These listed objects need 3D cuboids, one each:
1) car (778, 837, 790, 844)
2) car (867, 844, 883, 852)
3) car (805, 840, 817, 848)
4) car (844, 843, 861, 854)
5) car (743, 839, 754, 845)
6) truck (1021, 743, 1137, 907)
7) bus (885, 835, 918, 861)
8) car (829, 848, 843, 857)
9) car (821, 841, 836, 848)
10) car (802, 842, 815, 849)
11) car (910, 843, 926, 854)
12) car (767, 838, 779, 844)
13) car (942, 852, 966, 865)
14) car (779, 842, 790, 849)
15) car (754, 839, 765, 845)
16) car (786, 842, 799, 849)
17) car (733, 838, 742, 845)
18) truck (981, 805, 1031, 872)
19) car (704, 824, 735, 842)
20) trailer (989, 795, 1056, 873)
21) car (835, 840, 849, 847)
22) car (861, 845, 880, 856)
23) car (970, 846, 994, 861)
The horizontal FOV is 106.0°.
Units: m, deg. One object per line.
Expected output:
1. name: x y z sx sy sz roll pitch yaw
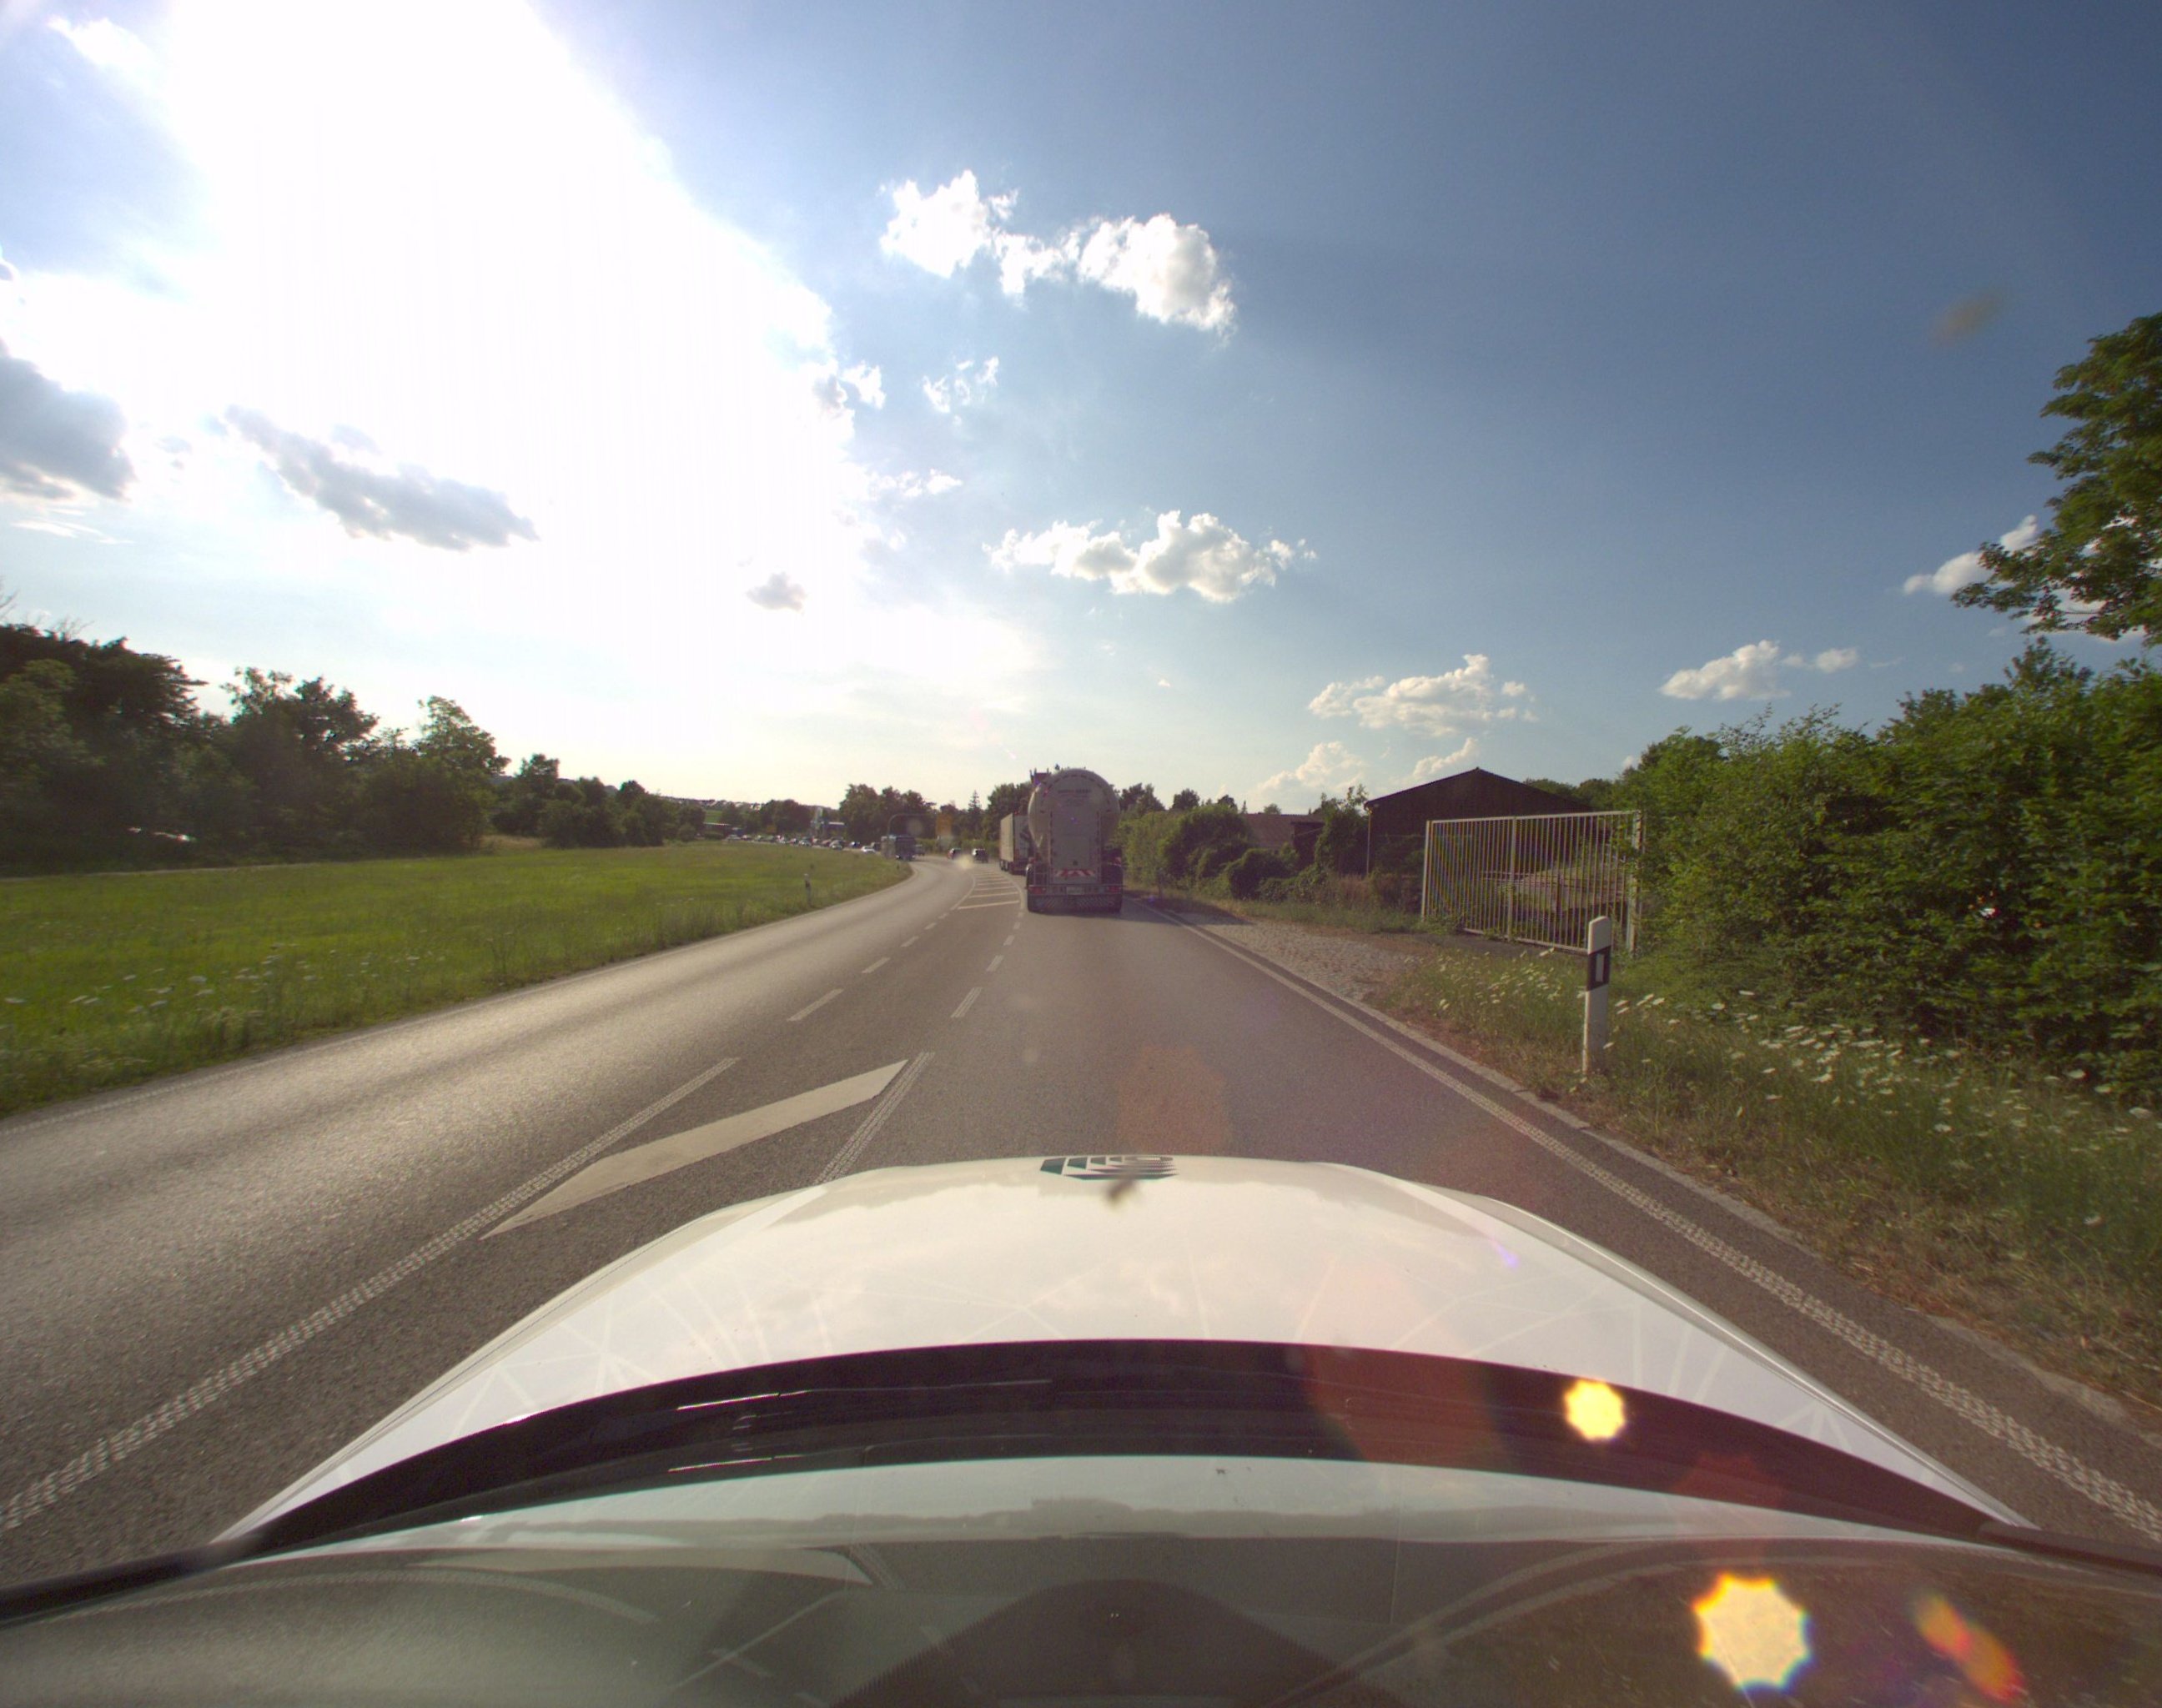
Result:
1. car: -74.497 -3.416 204.290 1.895 1.599 3.958 1 0 -34
2. car: -39.714 -1.200 157.160 2.097 1.599 3.963 1 0 -29
3. car: -57.001 -2.055 171.743 1.851 1.656 3.965 1 -1 -27
4. car: -36.174 -0.823 128.901 1.851 1.656 3.965 1 -1 -27
5. car: -89.525 -3.250 219.386 1.895 1.599 3.959 1 0 -33
6. truck: -0.320 -0.663 26.577 2.969 4.175 11.649 0 -1 -3
7. bus: -23.445 -0.717 105.875 2.803 3.181 12.047 1 -1 -19
8. car: -45.791 -0.264 151.927 1.851 1.656 3.965 1 -1 -27
9. car: -56.139 -2.151 181.275 2.100 1.599 3.958 1 0 -34
10. car: -64.053 -2.066 191.388 2.099 1.599 3.960 1 0 -32
11. car: -25.651 -0.802 127.918 1.848 1.656 3.971 1 -1 -22
12. car: -78.971 -3.352 208.759 1.895 1.599 3.959 1 0 -33
13. car: -16.953 0.578 108.730 2.308 1.656 4.383 1 -1 -22
14. car: -67.895 -1.902 186.454 1.851 1.656 3.965 1 -1 -27
15. car: -84.813 -3.120 214.655 1.895 1.599 3.959 1 0 -33
16. car: -70.186 -2.018 198.308 2.099 1.599 3.960 1 0 -32
17. car: -88.318 -3.172 209.276 1.852 1.656 3.964 1 -1 -28
18. truck: -5.881 -1.081 62.977 2.966 4.886 6.400 0 -1 -14
19. car: -102.713 -5.939 231.025 3.573 5.059 13.079 1 0 -45
20. trailer: -4.195 -1.170 55.958 2.968 4.882 10.240 0 -1 -13
21. car: -51.231 -2.251 174.776 2.097 1.599 3.963 1 0 -29
22. car: -33.077 -0.494 127.917 1.854 1.656 3.959 1 -1 -32
23. car: -11.325 0.002 93.020 1.999 1.656 3.975 0 -1 -18
